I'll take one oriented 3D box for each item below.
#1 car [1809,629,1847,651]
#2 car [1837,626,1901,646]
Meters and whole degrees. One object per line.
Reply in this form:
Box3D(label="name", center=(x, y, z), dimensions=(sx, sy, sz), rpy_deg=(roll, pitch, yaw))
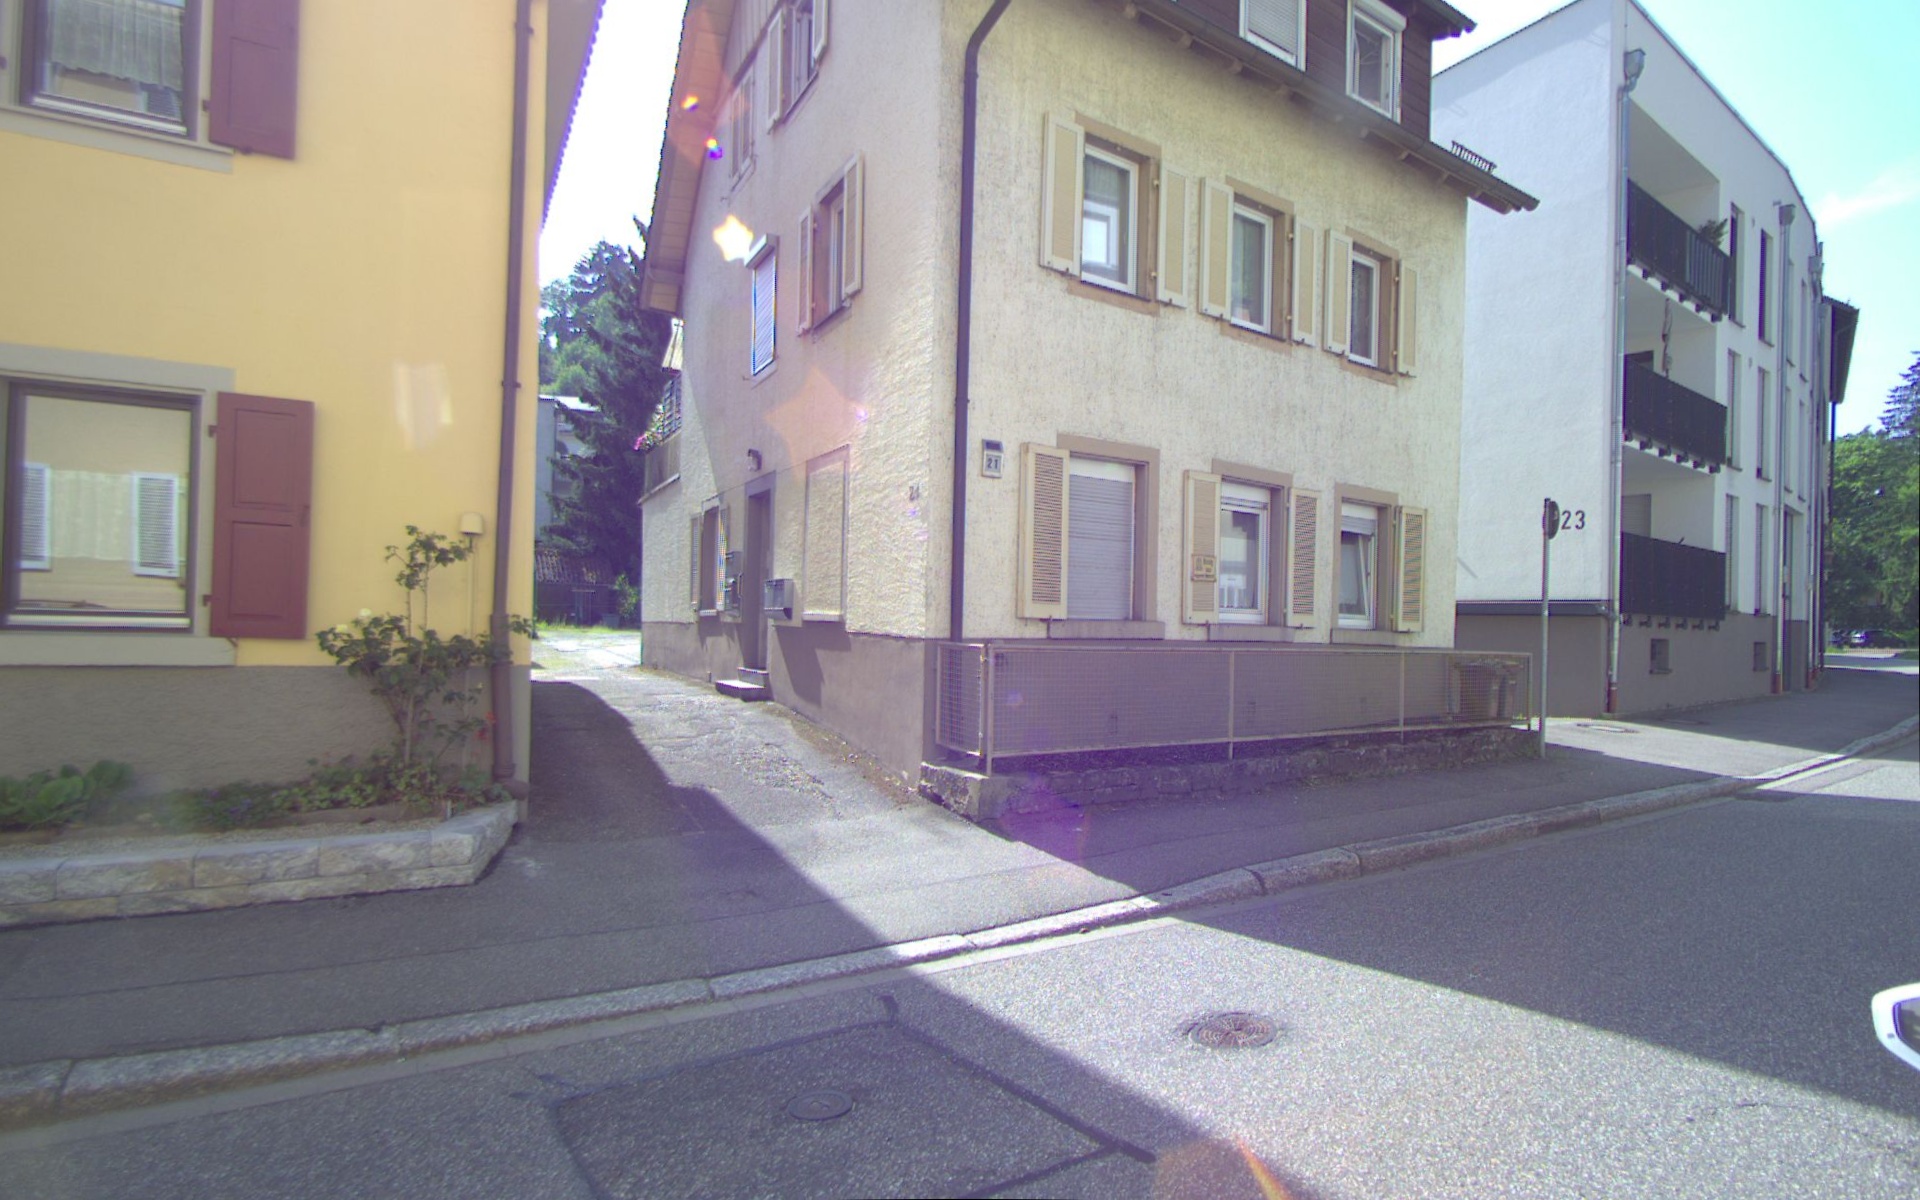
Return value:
Box3D(label="car", center=(65.910, 3.018, 76.303), dimensions=(1.611, 1.549, 3.479), rpy_deg=(0, -1, 31))
Box3D(label="car", center=(74.662, 2.954, 82.560), dimensions=(1.922, 1.549, 3.421), rpy_deg=(1, -1, -9))
